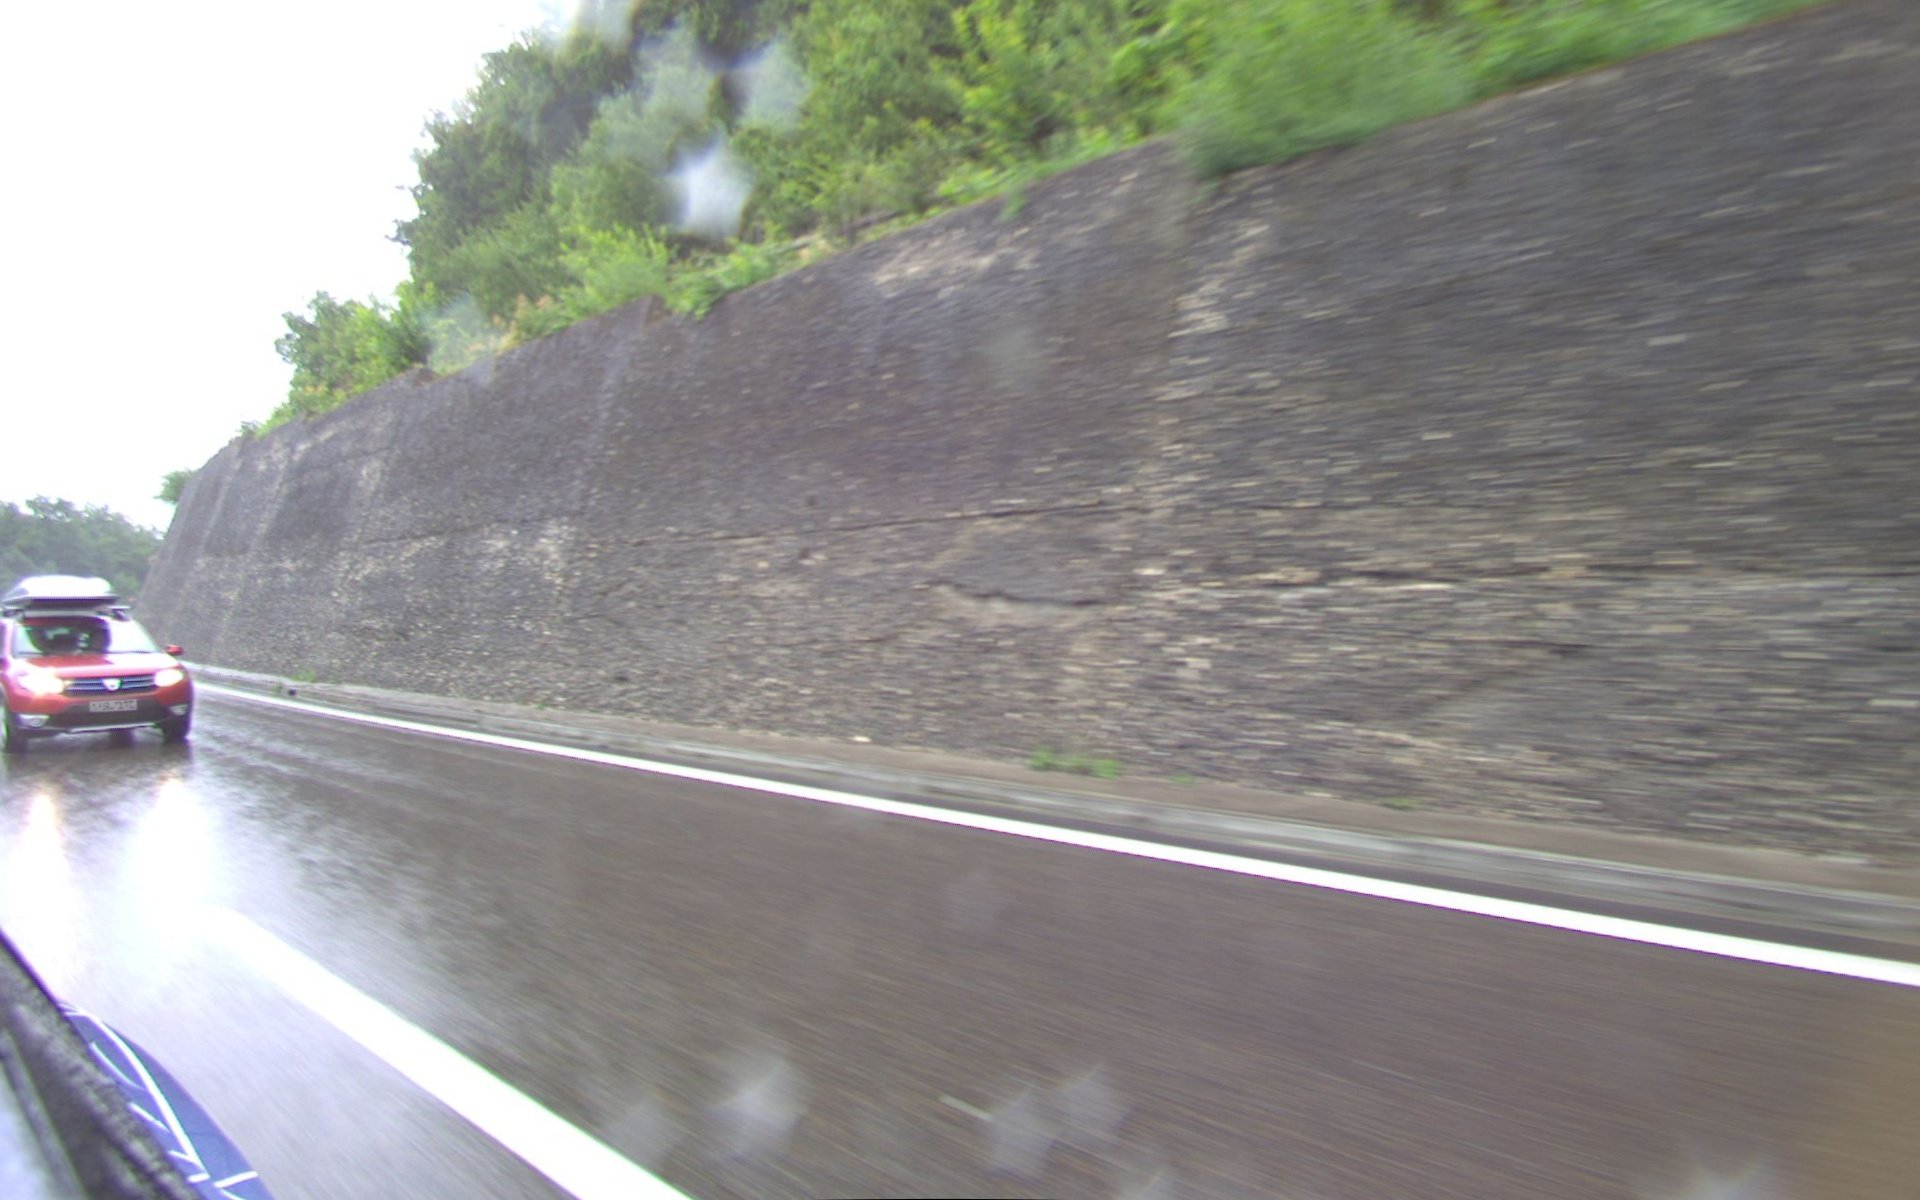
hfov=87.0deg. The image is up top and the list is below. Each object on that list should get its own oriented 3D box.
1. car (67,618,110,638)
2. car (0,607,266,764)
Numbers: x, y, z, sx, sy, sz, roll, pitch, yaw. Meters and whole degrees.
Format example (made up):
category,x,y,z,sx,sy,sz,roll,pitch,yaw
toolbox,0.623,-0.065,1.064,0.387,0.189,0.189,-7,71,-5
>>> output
category,x,y,z,sx,sy,sz,roll,pitch,yaw
car,-65.588,2.085,76.211,1.713,1.412,4.012,-1,0,-30
car,-11.378,0.956,12.761,5.480,1.570,2.336,-2,-1,32
